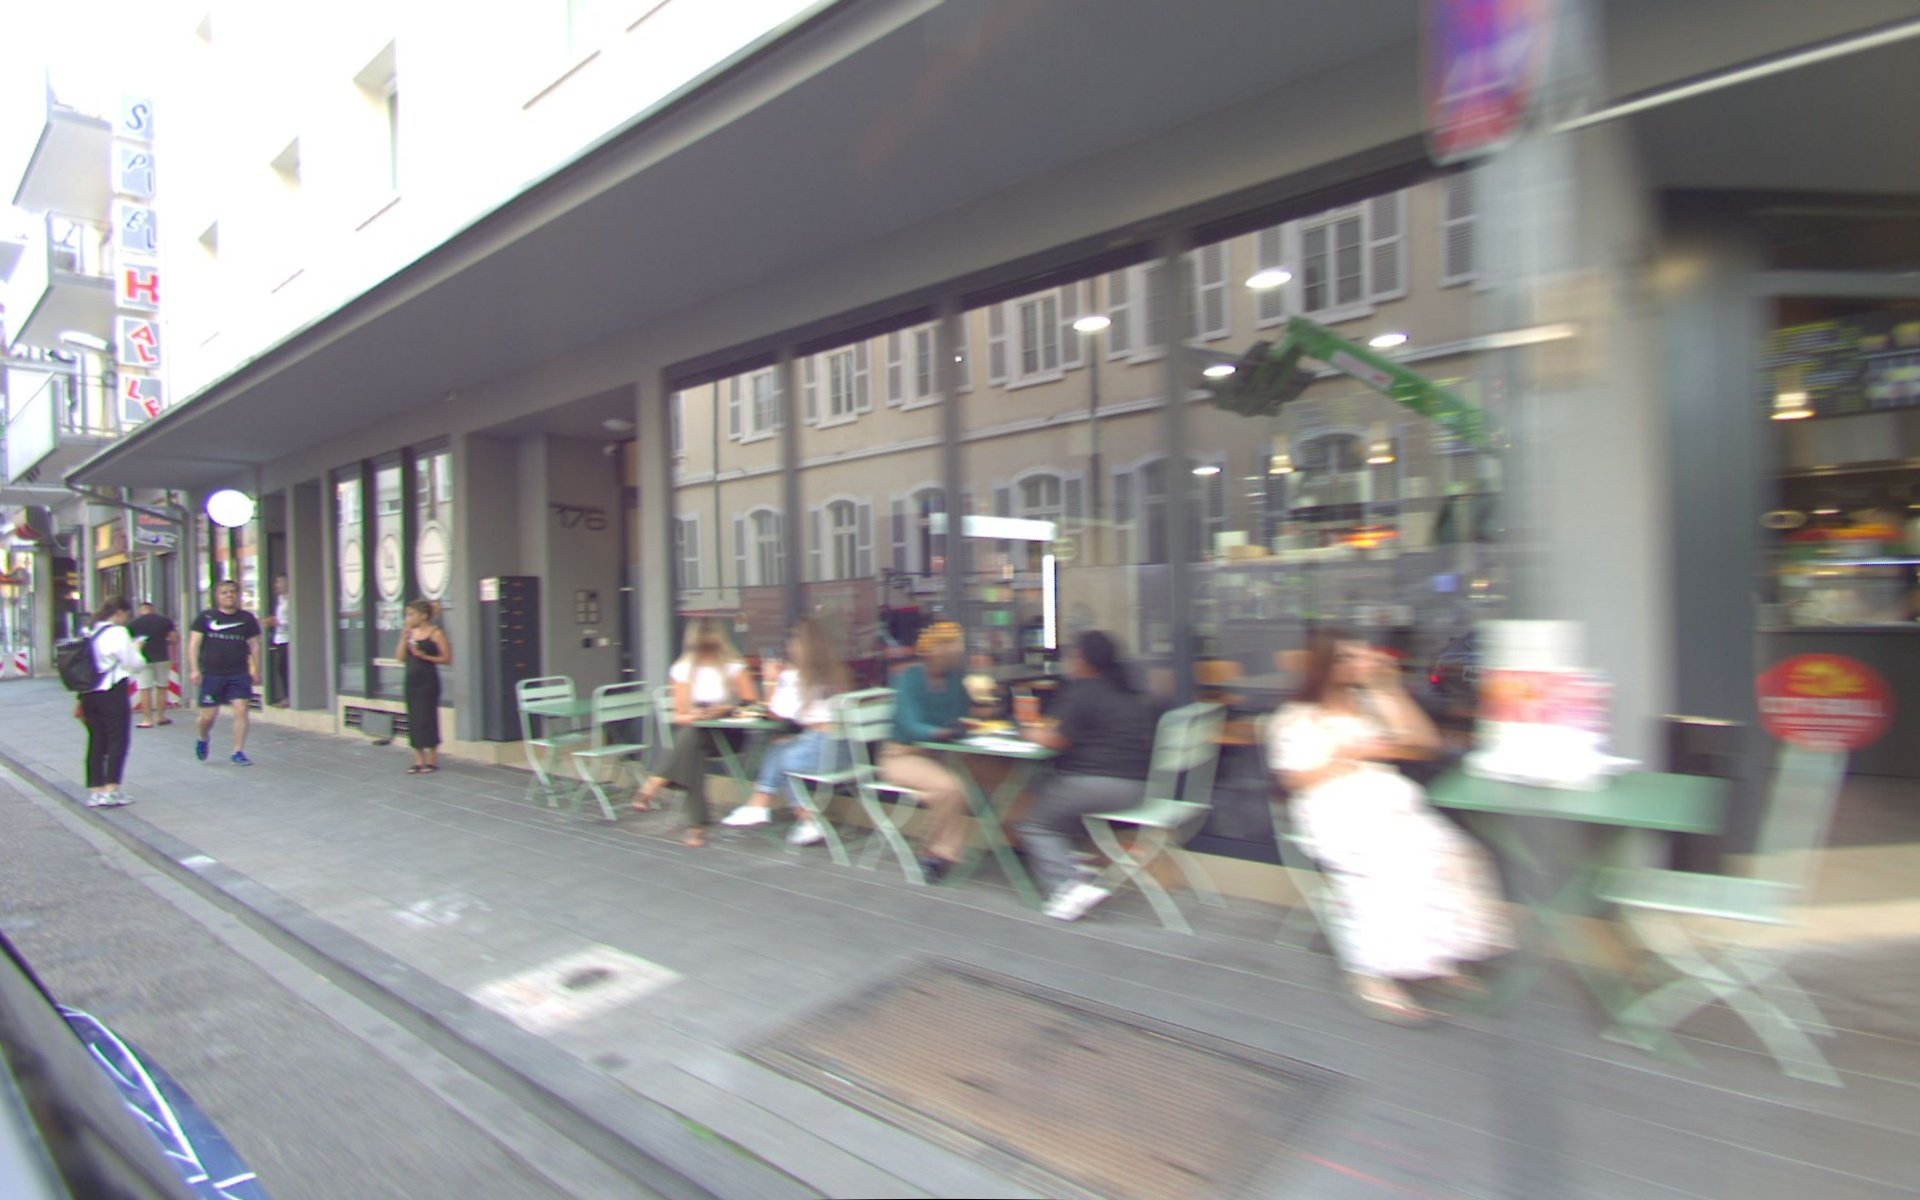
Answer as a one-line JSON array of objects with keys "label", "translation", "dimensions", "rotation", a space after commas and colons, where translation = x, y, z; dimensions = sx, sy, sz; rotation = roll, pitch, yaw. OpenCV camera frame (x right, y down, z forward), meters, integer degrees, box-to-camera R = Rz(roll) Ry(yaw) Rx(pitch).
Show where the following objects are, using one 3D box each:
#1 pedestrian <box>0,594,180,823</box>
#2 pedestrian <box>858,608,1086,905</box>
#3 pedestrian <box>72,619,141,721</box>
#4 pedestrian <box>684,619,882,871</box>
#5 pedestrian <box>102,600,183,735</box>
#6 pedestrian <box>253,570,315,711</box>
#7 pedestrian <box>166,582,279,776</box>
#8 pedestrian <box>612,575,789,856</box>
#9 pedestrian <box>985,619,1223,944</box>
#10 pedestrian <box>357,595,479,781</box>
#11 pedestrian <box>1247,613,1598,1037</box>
[{"label": "pedestrian", "translation": [-7.013, 0.847, 8.205], "dimensions": [0.748, 1.753, 0.785], "rotation": [0, -2, -4]}, {"label": "pedestrian", "translation": [0.057, 0.693, 4.929], "dimensions": [0.778, 1.249, 0.696], "rotation": [-2, 3, 44]}, {"label": "pedestrian", "translation": [-14.014, 1.131, 16.617], "dimensions": [0.612, 1.590, 0.702], "rotation": [-2, 1, 38]}, {"label": "pedestrian", "translation": [-0.985, 0.773, 5.742], "dimensions": [0.853, 1.296, 0.702], "rotation": [-2, 0, 17]}, {"label": "pedestrian", "translation": [-11.413, 0.910, 14.130], "dimensions": [0.932, 1.795, 0.697], "rotation": [-2, 0, 41]}, {"label": "pedestrian", "translation": [-8.991, 0.533, 13.452], "dimensions": [0.613, 1.824, 0.538], "rotation": [-2, -2, 41]}, {"label": "pedestrian", "translation": [-7.374, 0.754, 10.118], "dimensions": [0.932, 1.824, 0.707], "rotation": [-2, -1, 41]}, {"label": "pedestrian", "translation": [-1.599, 0.648, 6.209], "dimensions": [0.695, 1.559, 0.862], "rotation": [-2, 0, -41]}, {"label": "pedestrian", "translation": [0.628, 0.715, 4.396], "dimensions": [0.691, 1.204, 0.696], "rotation": [-2, 2, 44]}, {"label": "pedestrian", "translation": [-4.828, 0.761, 9.040], "dimensions": [0.632, 1.581, 0.655], "rotation": [-2, 0, 15]}, {"label": "pedestrian", "translation": [1.532, 0.674, 3.485], "dimensions": [0.694, 1.228, 0.844], "rotation": [-2, 0, -12]}]
